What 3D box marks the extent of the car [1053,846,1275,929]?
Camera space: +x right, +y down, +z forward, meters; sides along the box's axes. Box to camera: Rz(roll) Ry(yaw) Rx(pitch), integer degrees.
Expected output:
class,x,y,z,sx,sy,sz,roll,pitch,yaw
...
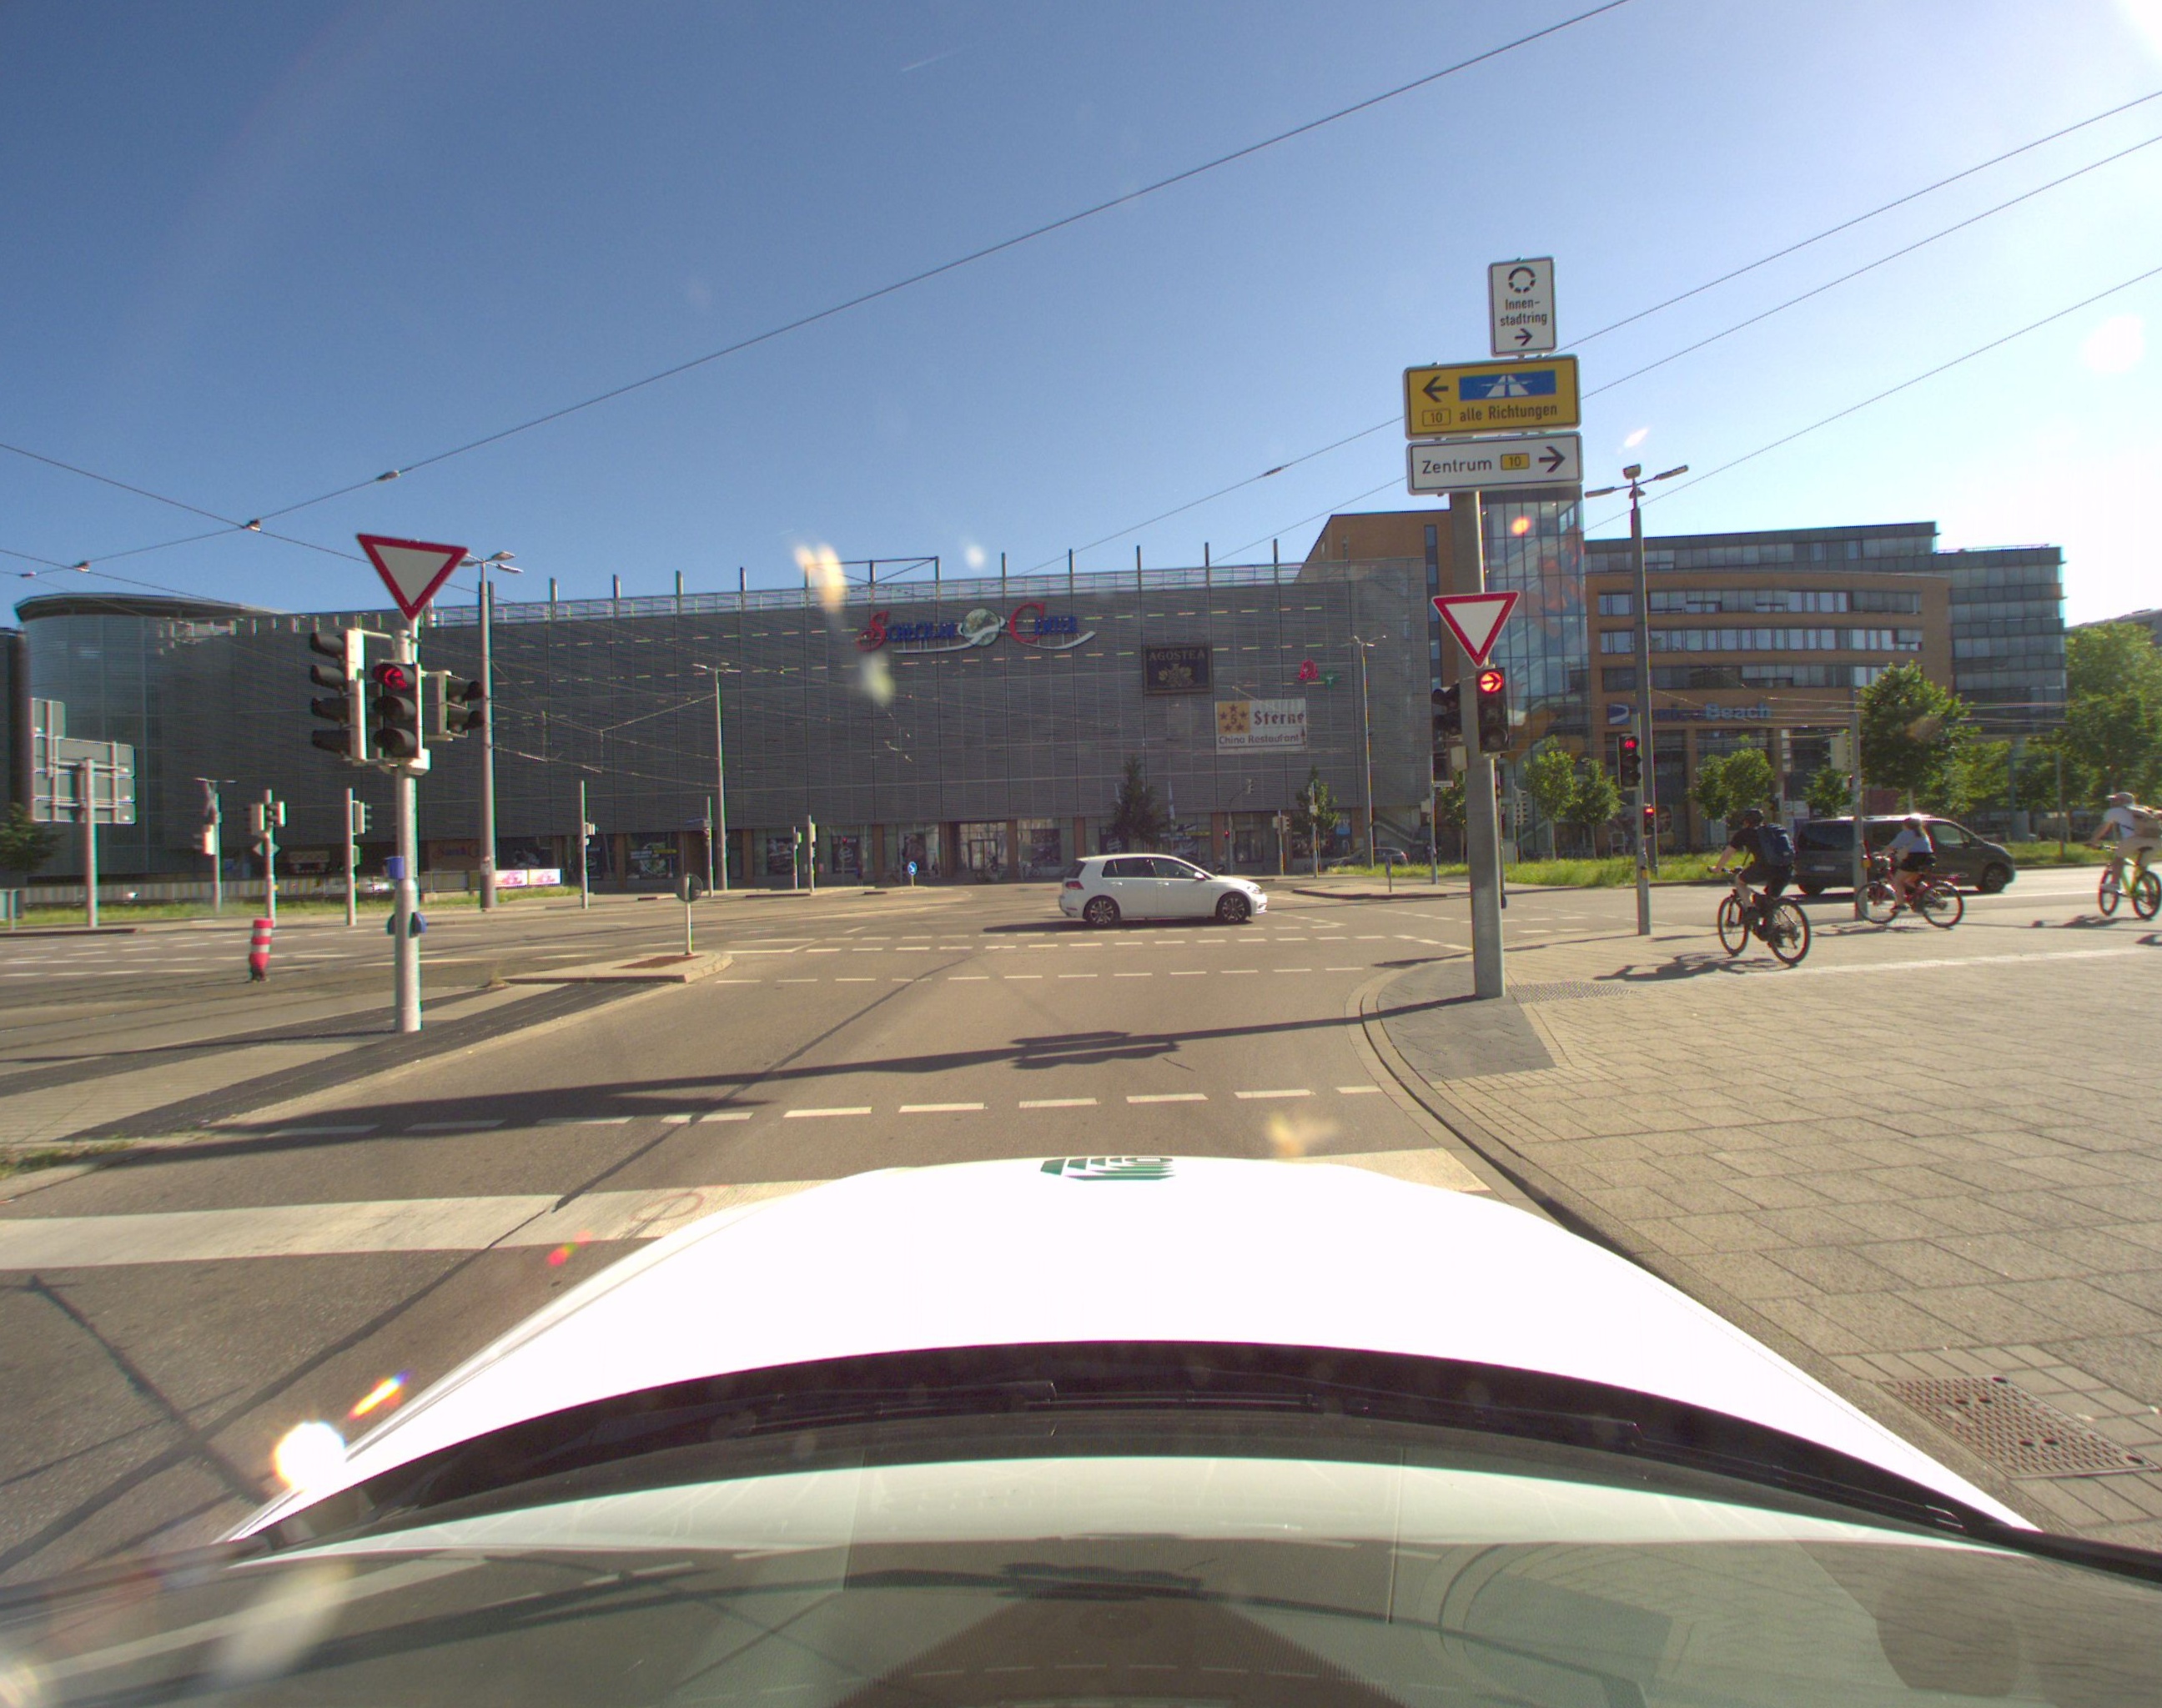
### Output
class,x,y,z,sx,sy,sz,roll,pitch,yaw
car,1.624,0.641,16.862,4.276,1.472,1.862,-2,0,-6

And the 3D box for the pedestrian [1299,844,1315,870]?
class,x,y,z,sx,sy,sz,roll,pitch,yaw
pedestrian,16.254,0.232,58.606,0.945,1.829,0.847,-3,-4,7

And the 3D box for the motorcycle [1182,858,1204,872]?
class,x,y,z,sx,sy,sz,roll,pitch,yaw
motorcycle,8.313,0.831,60.590,1.630,1.004,0.448,0,0,8

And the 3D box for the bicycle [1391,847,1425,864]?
class,x,y,z,sx,sy,sz,roll,pitch,yaw
bicycle,24.343,0.111,60.614,2.247,1.296,0.606,0,-1,0

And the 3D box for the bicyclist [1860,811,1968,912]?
class,x,y,z,sx,sy,sz,roll,pitch,yaw
bicyclist,12.543,0.126,12.300,0.662,1.436,0.943,-2,-2,11

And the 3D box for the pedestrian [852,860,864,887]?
class,x,y,z,sx,sy,sz,roll,pitch,yaw
pedestrian,-15.202,1.312,55.455,0.695,1.797,0.727,-3,0,-14

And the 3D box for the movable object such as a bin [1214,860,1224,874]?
class,x,y,z,sx,sy,sz,roll,pitch,yaw
movable object such as a bin,9.272,0.882,54.734,0.608,0.904,0.972,-1,-1,12

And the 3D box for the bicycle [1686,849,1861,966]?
class,x,y,z,sx,sy,sz,roll,pitch,yaw
bicycle,7.928,0.560,9.471,0.631,1.197,2.162,-2,0,14

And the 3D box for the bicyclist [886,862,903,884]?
class,x,y,z,sx,sy,sz,roll,pitch,yaw
bicyclist,-12.628,1.275,55.231,0.667,1.427,0.855,-1,2,45

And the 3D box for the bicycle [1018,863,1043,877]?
class,x,y,z,sx,sy,sz,roll,pitch,yaw
bicycle,-3.781,1.175,60.784,1.815,0.989,0.556,-2,1,-8

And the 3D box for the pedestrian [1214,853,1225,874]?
class,x,y,z,sx,sy,sz,roll,pitch,yaw
pedestrian,9.405,0.631,55.197,0.650,1.414,0.853,-1,-1,12

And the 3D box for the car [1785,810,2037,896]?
class,x,y,z,sx,sy,sz,roll,pitch,yaw
car,19.119,-0.038,18.840,4.453,1.791,1.705,-2,0,-7

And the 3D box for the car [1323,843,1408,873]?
class,x,y,z,sx,sy,sz,roll,pitch,yaw
car,15.930,0.237,45.692,4.132,1.470,1.841,2,-1,0

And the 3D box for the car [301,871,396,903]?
class,x,y,z,sx,sy,sz,roll,pitch,yaw
car,-45.875,2.036,51.045,4.311,1.863,1.841,-1,-1,1

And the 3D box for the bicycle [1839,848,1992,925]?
class,x,y,z,sx,sy,sz,roll,pitch,yaw
bicycle,12.563,0.472,12.352,0.663,1.072,1.825,-2,-1,10

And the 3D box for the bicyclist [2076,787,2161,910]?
class,x,y,z,sx,sy,sz,roll,pitch,yaw
bicyclist,15.341,-0.044,12.003,1.100,1.726,0.708,3,-5,-43

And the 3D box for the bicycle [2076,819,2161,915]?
class,x,y,z,sx,sy,sz,roll,pitch,yaw
bicycle,15.442,0.207,12.073,1.758,1.327,0.708,2,-4,-43

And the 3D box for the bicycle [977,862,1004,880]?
class,x,y,z,sx,sy,sz,roll,pitch,yaw
bicycle,-6.494,1.217,58.598,1.850,1.217,0.569,-2,1,1

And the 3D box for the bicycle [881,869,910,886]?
class,x,y,z,sx,sy,sz,roll,pitch,yaw
bicycle,-12.585,1.586,55.304,0.562,1.086,1.874,-1,2,45

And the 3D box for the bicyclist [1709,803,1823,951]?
class,x,y,z,sx,sy,sz,roll,pitch,yaw
bicyclist,7.920,0.259,9.462,0.624,1.629,0.975,-2,-1,15

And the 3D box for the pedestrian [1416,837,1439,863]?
class,x,y,z,sx,sy,sz,roll,pitch,yaw
pedestrian,25.360,-0.311,59.572,1.016,1.828,1.028,-3,0,-21

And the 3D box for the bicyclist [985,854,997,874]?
class,x,y,z,sx,sy,sz,roll,pitch,yaw
bicyclist,-6.475,0.747,58.567,0.750,1.386,0.566,-2,1,1

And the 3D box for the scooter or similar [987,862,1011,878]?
class,x,y,z,sx,sy,sz,roll,pitch,yaw
scooter or similar,-6.184,1.204,61.225,1.790,1.066,0.611,-2,1,-6

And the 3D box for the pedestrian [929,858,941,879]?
class,x,y,z,sx,sy,sz,roll,pitch,yaw
pedestrian,-11.017,1.101,61.523,0.654,1.601,0.597,-1,-1,20
